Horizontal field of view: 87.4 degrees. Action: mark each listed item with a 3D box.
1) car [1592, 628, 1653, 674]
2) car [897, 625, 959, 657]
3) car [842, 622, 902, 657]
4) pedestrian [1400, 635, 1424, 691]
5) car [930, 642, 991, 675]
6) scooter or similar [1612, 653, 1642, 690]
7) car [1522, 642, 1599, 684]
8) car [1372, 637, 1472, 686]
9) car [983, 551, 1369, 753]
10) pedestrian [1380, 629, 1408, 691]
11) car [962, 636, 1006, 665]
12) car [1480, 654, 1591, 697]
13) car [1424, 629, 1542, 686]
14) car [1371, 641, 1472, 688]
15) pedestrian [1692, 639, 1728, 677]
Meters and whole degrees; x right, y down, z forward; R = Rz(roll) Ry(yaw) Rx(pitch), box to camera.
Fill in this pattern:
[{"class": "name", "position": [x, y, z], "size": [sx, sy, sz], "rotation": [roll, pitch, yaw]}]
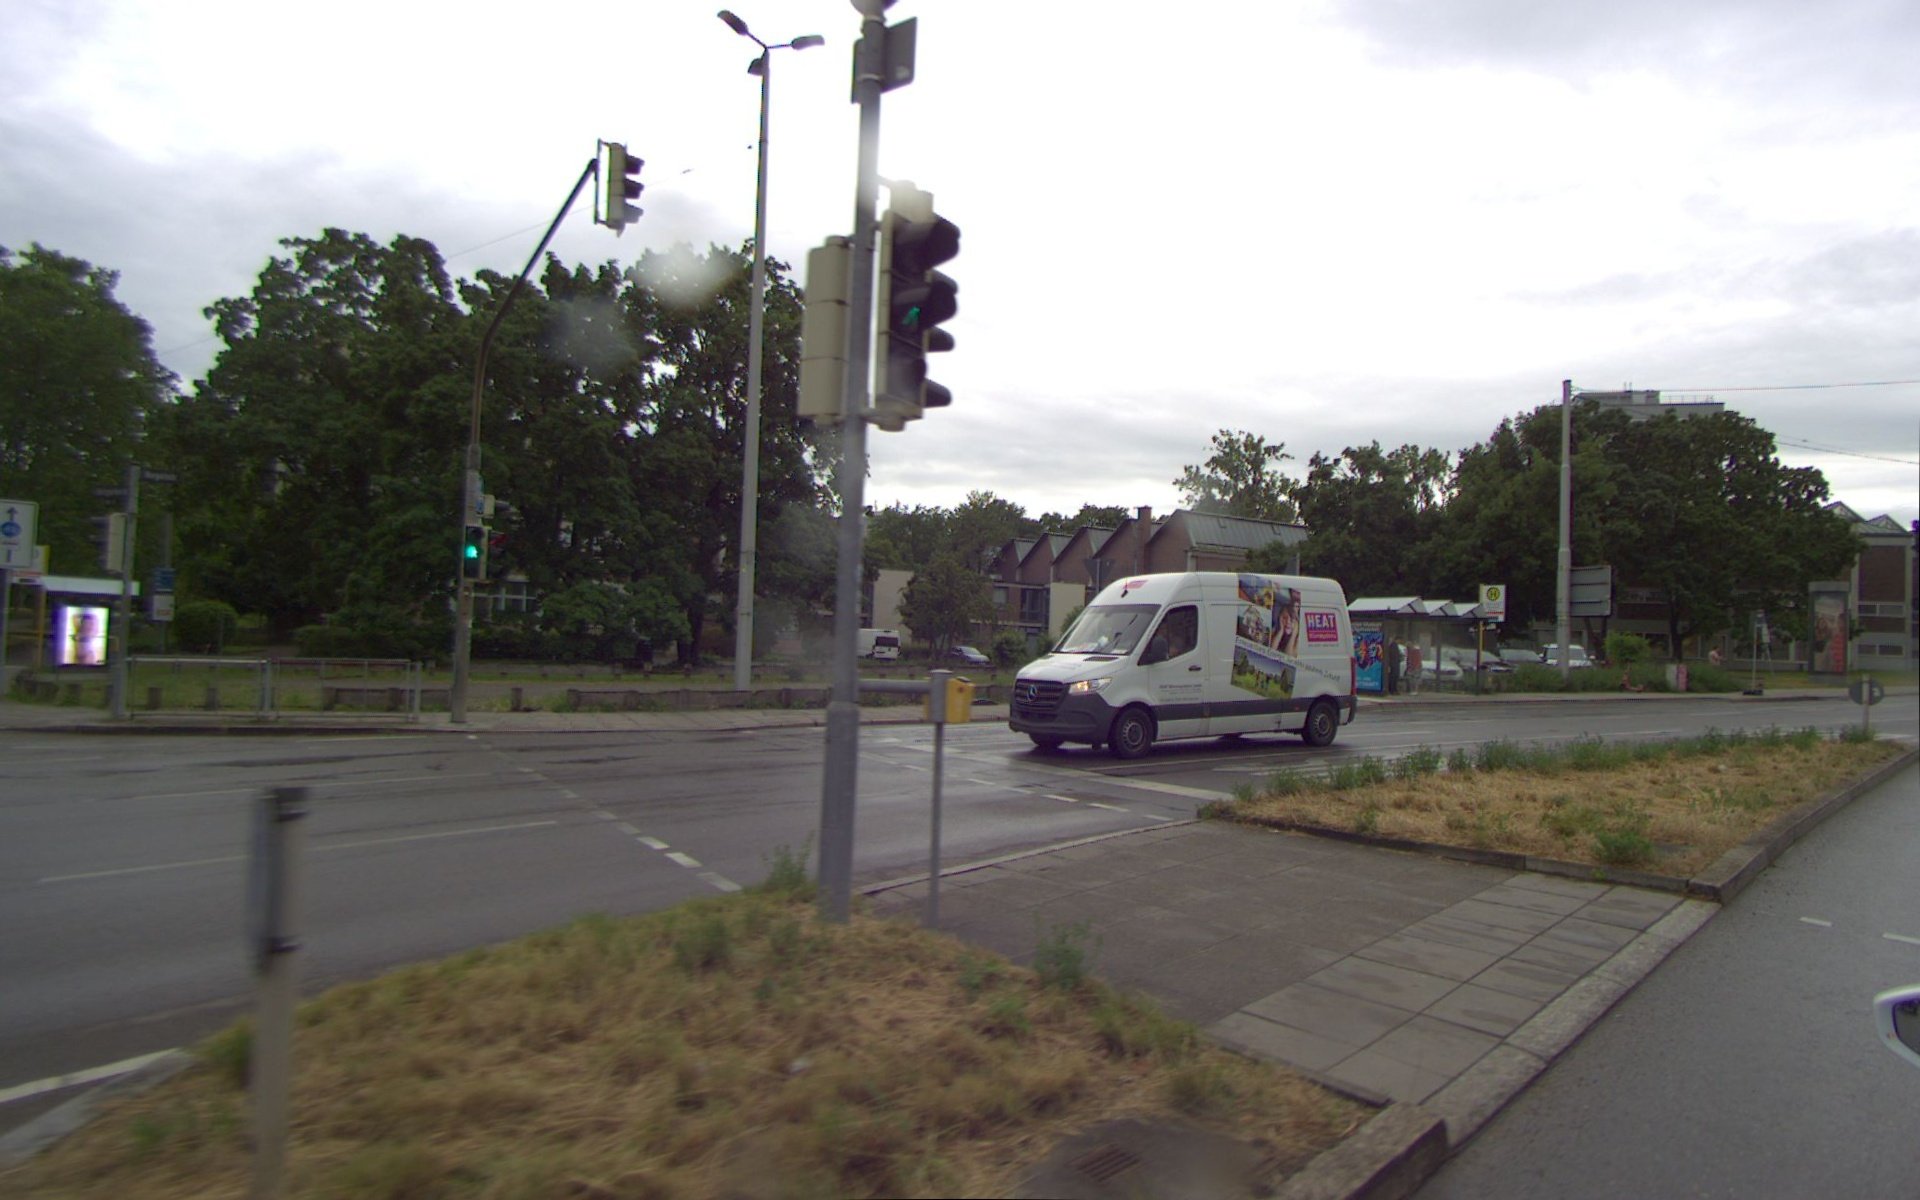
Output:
[{"class": "car", "position": [27.954, 2.166, 42.335], "size": [1.825, 1.765, 4.060], "rotation": [0, -3, 38]}, {"class": "car", "position": [-2.325, 2.869, 71.395], "size": [2.261, 2.049, 5.040], "rotation": [2, -1, -29]}, {"class": "car", "position": [-6.131, 2.699, 69.462], "size": [2.261, 2.207, 5.040], "rotation": [2, -1, -29]}, {"class": "pedestrian", "position": [13.421, 1.864, 29.863], "size": [0.601, 1.616, 0.509], "rotation": [2, 0, 23]}, {"class": "car", "position": [0.002, 4.197, 72.919], "size": [2.260, 2.102, 5.041], "rotation": [2, -1, -28]}, {"class": "scooter or similar", "position": [23.741, 2.538, 35.755], "size": [0.964, 1.283, 0.456], "rotation": [2, 0, -26]}, {"class": "car", "position": [23.612, 2.425, 39.627], "size": [1.817, 1.461, 4.076], "rotation": [1, -1, 20]}, {"class": "car", "position": [15.922, 2.083, 34.846], "size": [1.797, 1.434, 4.002], "rotation": [2, -1, 3]}, {"class": "car", "position": [3.393, 0.809, 15.062], "size": [5.974, 2.526, 2.047], "rotation": [3, -3, -33]}, {"class": "pedestrian", "position": [12.680, 1.754, 29.355], "size": [0.661, 1.768, 0.453], "rotation": [2, 0, -41]}, {"class": "car", "position": [1.835, 3.945, 78.559], "size": [1.971, 2.040, 3.979], "rotation": [2, -1, -22]}, {"class": "car", "position": [20.928, 2.715, 36.680], "size": [1.799, 1.236, 3.496], "rotation": [3, 0, -6]}, {"class": "car", "position": [18.515, 1.981, 35.757], "size": [1.799, 1.791, 3.996], "rotation": [2, -1, -6]}, {"class": "car", "position": [15.945, 2.214, 34.927], "size": [1.817, 1.461, 4.078], "rotation": [2, -3, 4]}, {"class": "pedestrian", "position": [31.905, 2.462, 42.736], "size": [0.942, 1.592, 0.803], "rotation": [2, 0, -20]}]
